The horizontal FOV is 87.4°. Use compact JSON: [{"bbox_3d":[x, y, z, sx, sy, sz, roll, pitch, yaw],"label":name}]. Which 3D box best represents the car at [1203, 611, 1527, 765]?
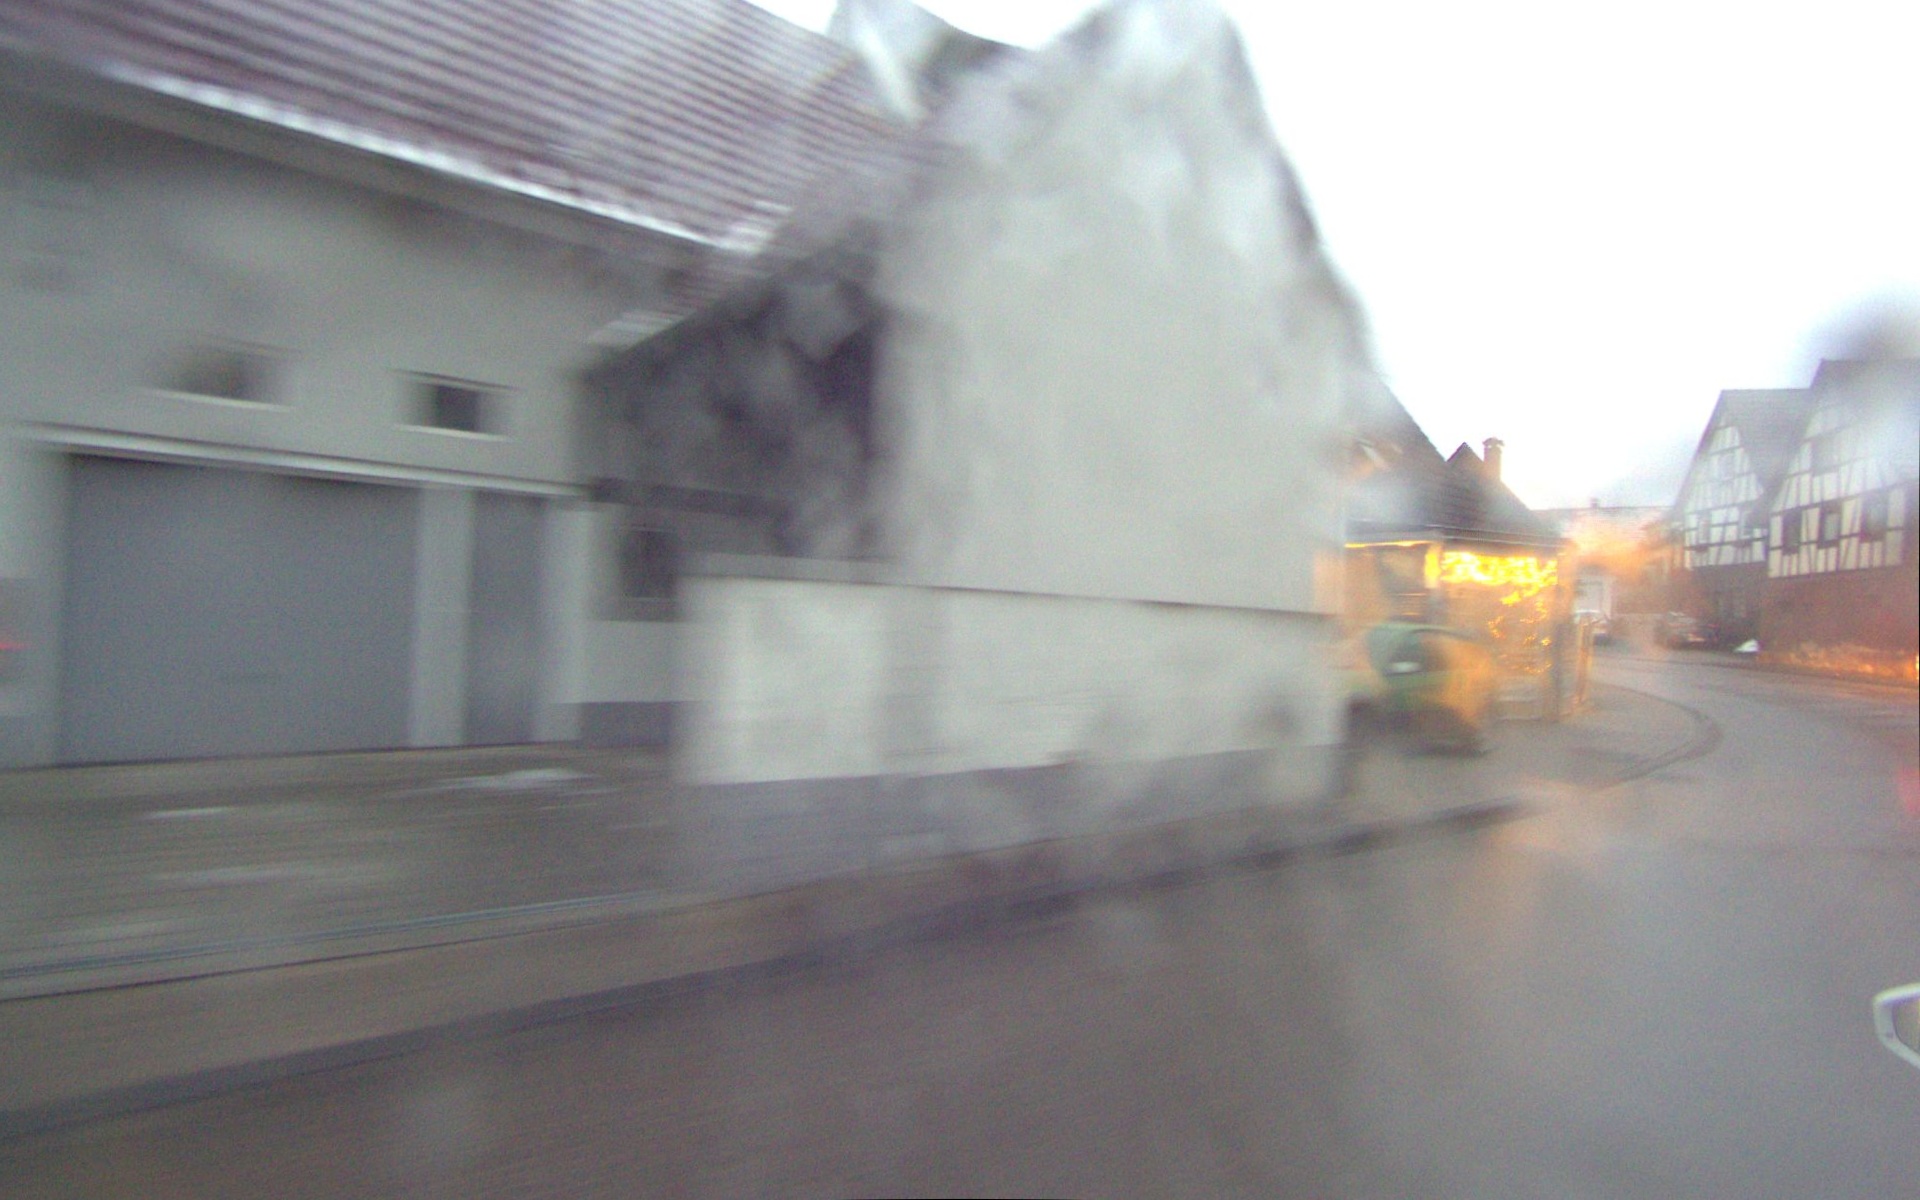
[{"bbox_3d":[4.679,0.934,11.444,3.766,1.440,1.608,3,-1,-35],"label":"car"}]

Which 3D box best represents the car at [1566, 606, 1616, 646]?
[{"bbox_3d":[28.226,1.141,44.872,1.785,1.440,4.025,-2,2,33],"label":"car"}]

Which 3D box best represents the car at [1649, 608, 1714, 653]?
[{"bbox_3d":[29.994,1.245,41.847,1.568,1.536,3.978,-2,2,27],"label":"car"}]
